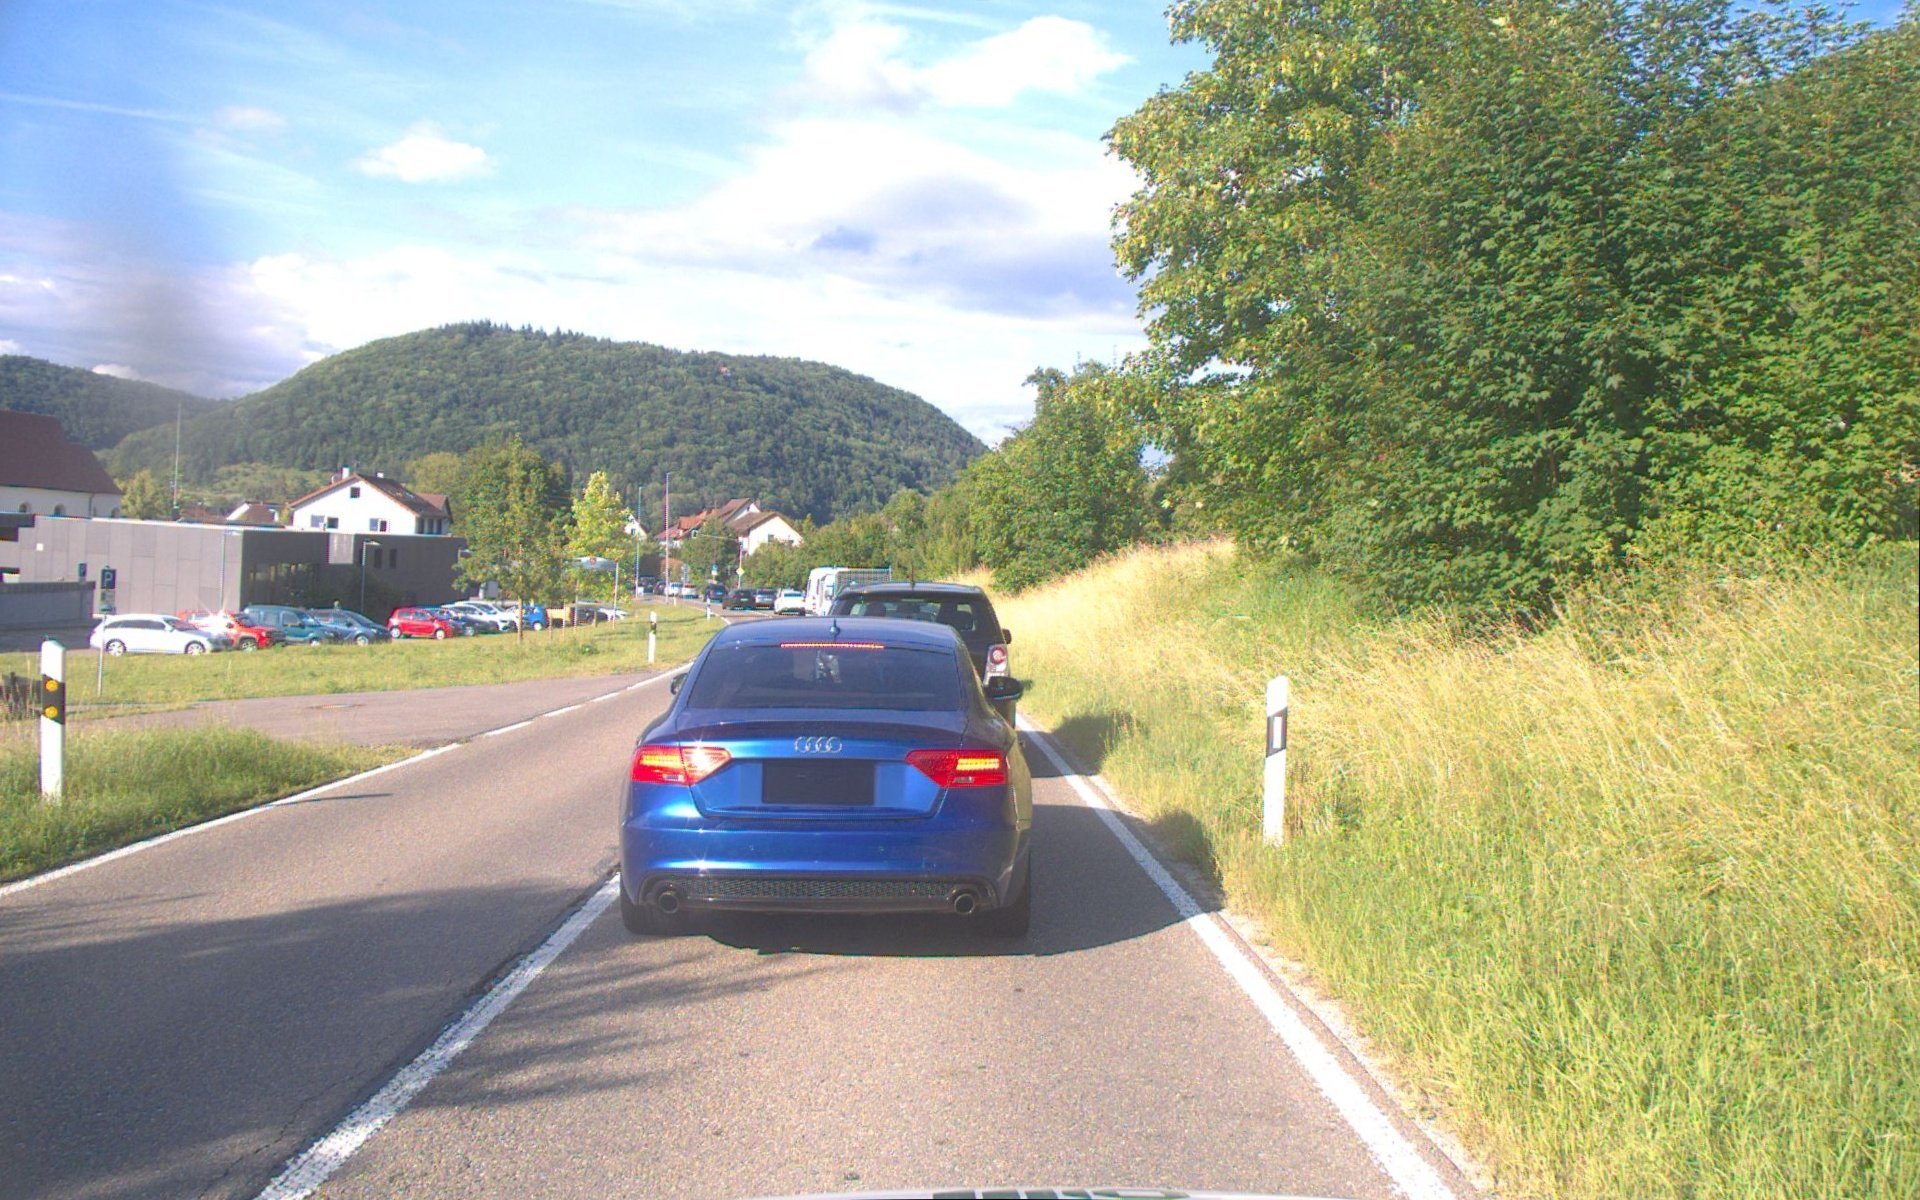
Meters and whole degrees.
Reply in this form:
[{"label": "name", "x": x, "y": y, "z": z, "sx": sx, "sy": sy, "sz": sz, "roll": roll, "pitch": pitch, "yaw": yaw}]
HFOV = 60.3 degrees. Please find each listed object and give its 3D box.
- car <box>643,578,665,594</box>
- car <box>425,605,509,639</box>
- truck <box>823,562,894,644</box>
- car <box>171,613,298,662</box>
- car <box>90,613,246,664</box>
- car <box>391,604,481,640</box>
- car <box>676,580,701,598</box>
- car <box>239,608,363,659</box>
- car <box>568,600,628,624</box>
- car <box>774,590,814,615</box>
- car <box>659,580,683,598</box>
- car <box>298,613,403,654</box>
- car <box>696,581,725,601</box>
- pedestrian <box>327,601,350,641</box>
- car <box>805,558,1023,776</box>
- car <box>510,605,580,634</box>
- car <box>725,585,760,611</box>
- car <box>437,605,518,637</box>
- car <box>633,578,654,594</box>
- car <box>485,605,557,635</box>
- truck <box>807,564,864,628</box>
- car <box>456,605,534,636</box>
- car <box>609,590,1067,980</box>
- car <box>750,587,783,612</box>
[{"label": "car", "x": -33.762, "y": -1.541, "z": 182.188, "sx": 1.817, "sy": 1.742, "sz": 3.979, "roll": 1, "pitch": 0, "yaw": -19}, {"label": "car", "x": -26.249, "y": 1.149, "z": 88.173, "sx": 3.907, "sy": 1.741, "sz": 1.999, "roll": 1, "pitch": 0, "yaw": -3}, {"label": "truck", "x": -3.541, "y": 0.117, "z": 56.839, "sx": 2.187, "sy": 2.615, "sz": 6.096, "roll": 1, "pitch": 0, "yaw": -5}, {"label": "car", "x": -27.597, "y": 1.420, "z": 62.994, "sx": 3.907, "sy": 1.741, "sz": 1.999, "roll": 1, "pitch": 0, "yaw": -3}, {"label": "car", "x": -28.660, "y": 1.386, "z": 59.969, "sx": 4.637, "sy": 1.741, "sz": 1.999, "roll": 1, "pitch": 0, "yaw": -3}, {"label": "car", "x": -26.473, "y": 1.122, "z": 83.621, "sx": 3.907, "sy": 1.741, "sz": 1.999, "roll": 1, "pitch": 0, "yaw": -3}, {"label": "car", "x": -26.955, "y": -1.074, "z": 164.103, "sx": 1.818, "sy": 1.742, "sz": 3.977, "roll": 1, "pitch": 0, "yaw": -20}, {"label": "car", "x": -27.375, "y": 1.384, "z": 68.808, "sx": 4.318, "sy": 2.043, "sz": 1.999, "roll": 1, "pitch": 0, "yaw": -3}, {"label": "car", "x": -25.830, "y": 0.861, "z": 118.147, "sx": 3.907, "sy": 1.606, "sz": 1.751, "roll": 1, "pitch": 0, "yaw": -3}, {"label": "car", "x": -10.263, "y": 0.157, "z": 101.843, "sx": 1.815, "sy": 1.508, "sz": 3.983, "roll": 1, "pitch": 0, "yaw": -15}, {"label": "car", "x": -30.217, "y": -1.137, "z": 172.944, "sx": 1.817, "sy": 1.742, "sz": 3.979, "roll": 1, "pitch": 0, "yaw": -19}, {"label": "car", "x": -26.982, "y": 1.484, "z": 73.316, "sx": 3.907, "sy": 1.741, "sz": 1.999, "roll": 1, "pitch": 0, "yaw": -3}, {"label": "car", "x": -22.329, "y": -0.800, "z": 147.767, "sx": 1.818, "sy": 1.742, "sz": 3.977, "roll": 1, "pitch": 0, "yaw": -20}, {"label": "pedestrian", "x": -32.564, "y": 1.094, "z": 86.729, "sx": 0.808, "sy": 2.049, "sz": 0.973, "roll": 1, "pitch": -1, "yaw": -1}, {"label": "car", "x": -0.361, "y": 0.544, "z": 15.149, "sx": 1.718, "sy": 1.710, "sz": 3.846, "roll": 1, "pitch": 0, "yaw": 0}, {"label": "car", "x": -25.977, "y": 1.234, "z": 103.579, "sx": 3.907, "sy": 1.741, "sz": 1.999, "roll": 1, "pitch": 0, "yaw": -3}, {"label": "car", "x": -15.238, "y": -0.120, "z": 115.885, "sx": 1.816, "sy": 1.742, "sz": 3.982, "roll": 1, "pitch": 0, "yaw": -17}, {"label": "car", "x": -26.772, "y": 1.159, "z": 91.821, "sx": 3.907, "sy": 1.741, "sz": 1.999, "roll": 1, "pitch": 0, "yaw": -3}, {"label": "car", "x": -36.485, "y": -1.614, "z": 190.418, "sx": 1.817, "sy": 1.742, "sz": 3.979, "roll": 1, "pitch": 0, "yaw": -19}, {"label": "car", "x": -26.752, "y": 1.207, "z": 100.892, "sx": 3.907, "sy": 1.741, "sz": 1.999, "roll": 1, "pitch": 0, "yaw": -3}, {"label": "truck", "x": -5.485, "y": -0.152, "z": 72.164, "sx": 2.187, "sy": 2.615, "sz": 6.698, "roll": 1, "pitch": 0, "yaw": -7}, {"label": "car", "x": -26.722, "y": 1.177, "z": 95.106, "sx": 3.907, "sy": 1.741, "sz": 1.999, "roll": 1, "pitch": 0, "yaw": -3}, {"label": "car", "x": -0.458, "y": 0.715, "z": 8.221, "sx": 1.718, "sy": 1.455, "sz": 3.846, "roll": 1, "pitch": 0, "yaw": 0}, {"label": "car", "x": -14.035, "y": -0.004, "z": 119.774, "sx": 1.814, "sy": 1.742, "sz": 3.985, "roll": 1, "pitch": 0, "yaw": -14}]
